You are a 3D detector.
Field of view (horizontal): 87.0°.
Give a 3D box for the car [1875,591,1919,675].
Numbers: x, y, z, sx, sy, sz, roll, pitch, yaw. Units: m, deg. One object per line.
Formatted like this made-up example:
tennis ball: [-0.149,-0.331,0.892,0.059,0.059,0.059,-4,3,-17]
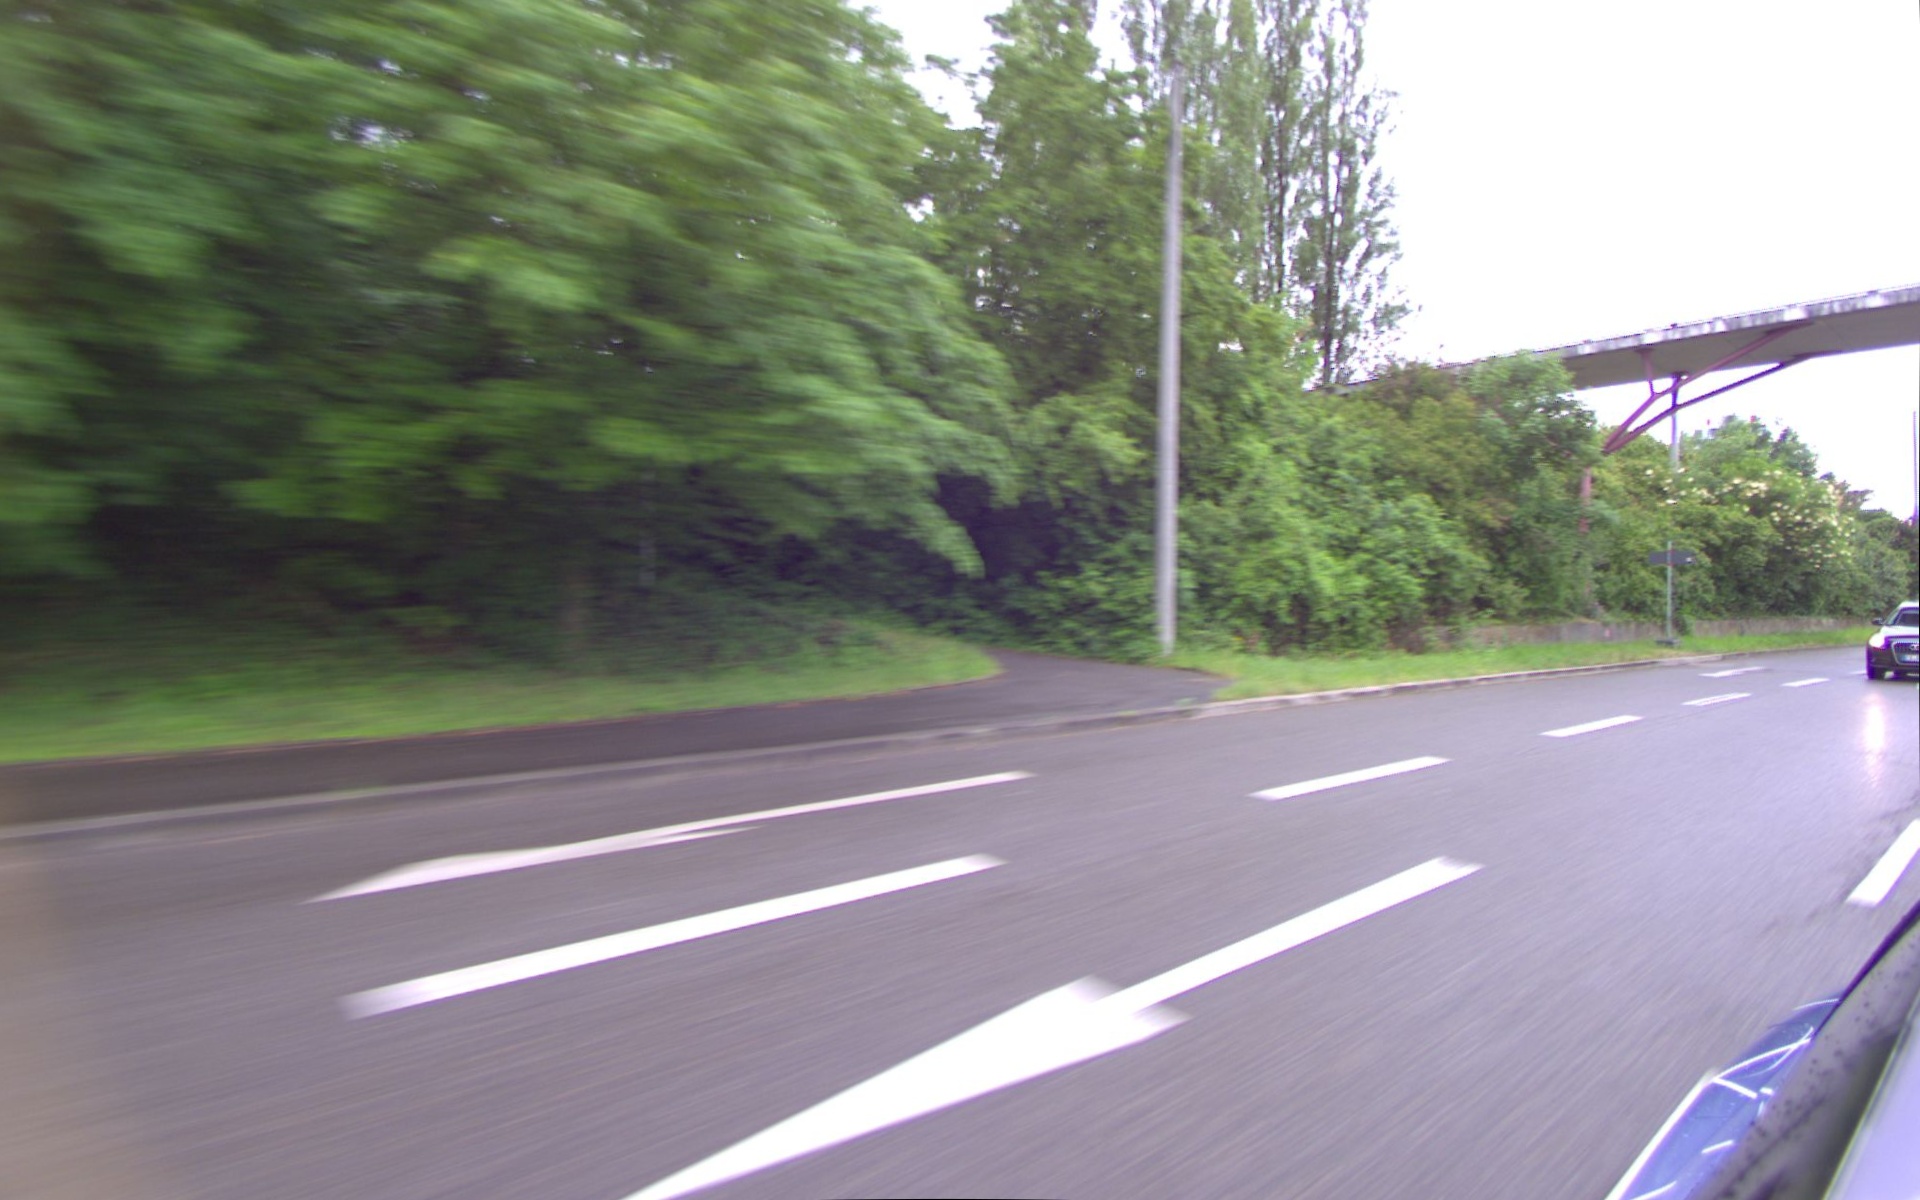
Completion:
car: [20.426,0.649,20.644,4.201,1.621,1.927,0,0,-38]
